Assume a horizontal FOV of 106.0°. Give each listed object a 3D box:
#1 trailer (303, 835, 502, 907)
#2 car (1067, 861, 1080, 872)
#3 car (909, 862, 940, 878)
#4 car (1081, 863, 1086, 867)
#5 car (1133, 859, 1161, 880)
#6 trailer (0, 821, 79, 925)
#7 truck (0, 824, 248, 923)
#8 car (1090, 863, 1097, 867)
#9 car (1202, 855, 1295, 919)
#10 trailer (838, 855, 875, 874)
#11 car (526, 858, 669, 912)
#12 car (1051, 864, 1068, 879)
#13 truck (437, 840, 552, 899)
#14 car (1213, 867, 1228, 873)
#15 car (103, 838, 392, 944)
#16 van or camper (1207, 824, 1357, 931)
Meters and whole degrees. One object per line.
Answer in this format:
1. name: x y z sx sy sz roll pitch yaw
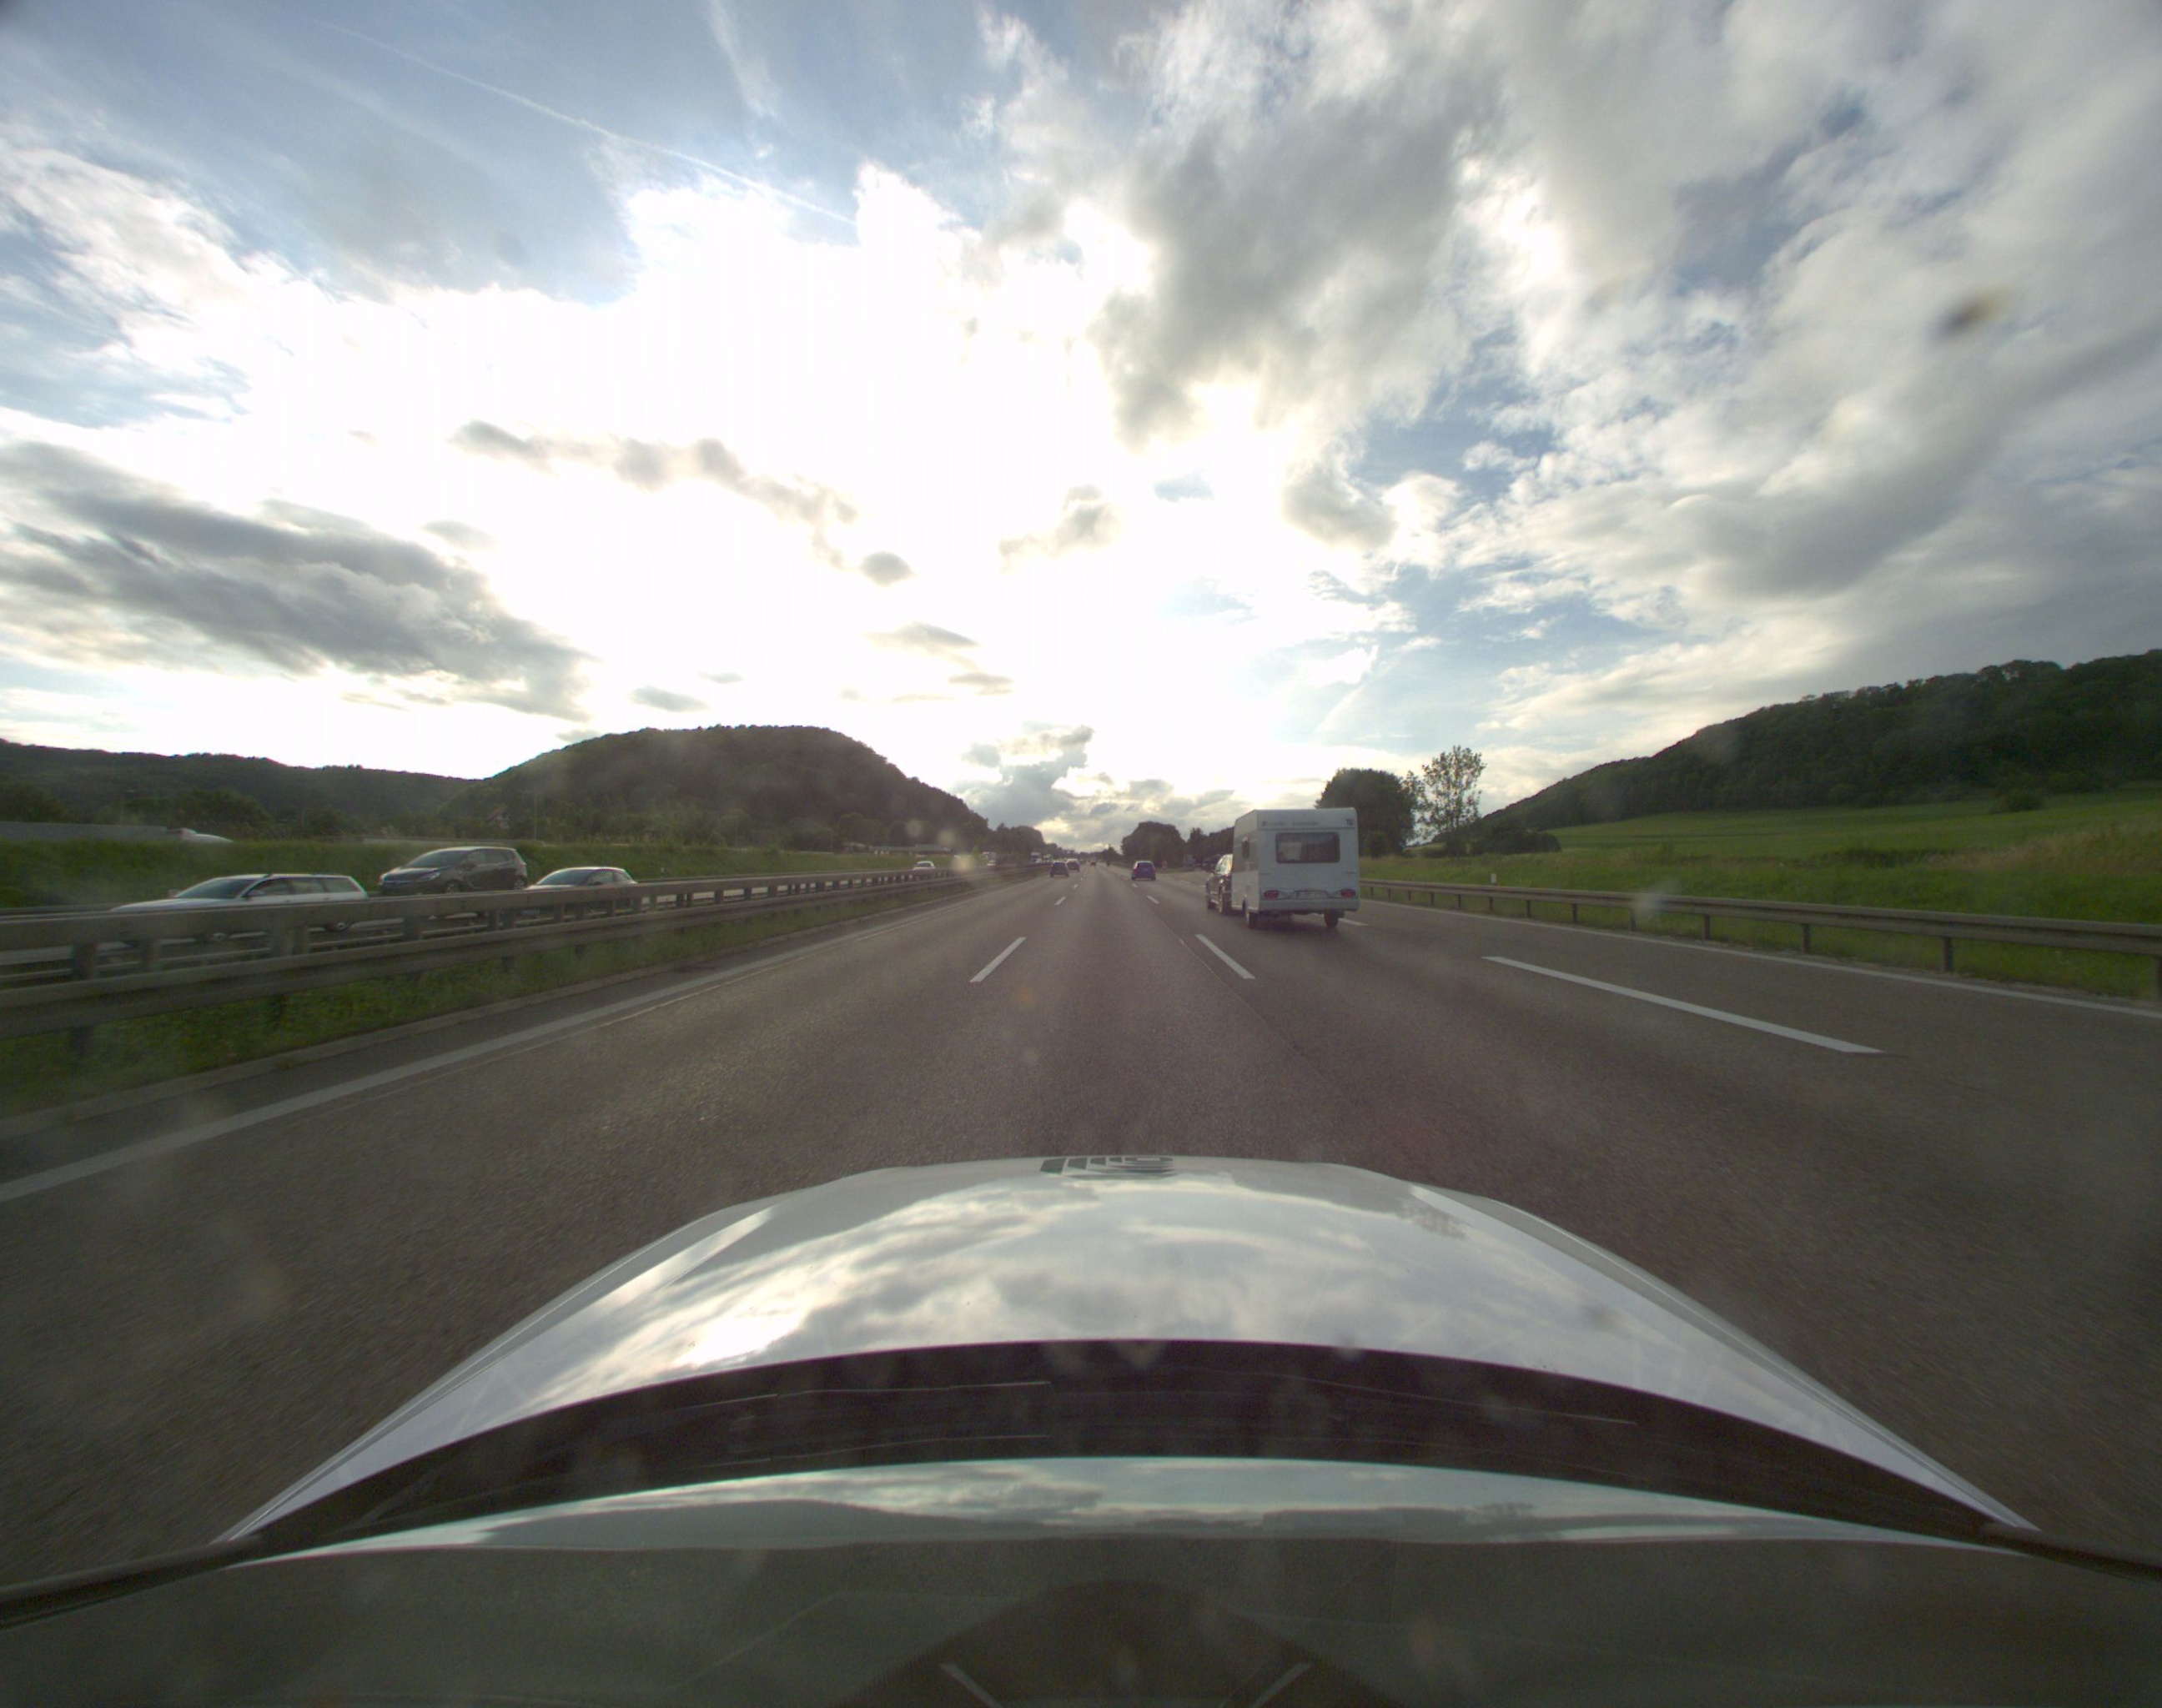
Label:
1. trailer: -39.550 0.957 48.219 2.866 3.696 10.375 -2 -1 1
2. car: -1.006 1.695 110.313 1.558 1.380 4.003 -1 -1 3
3. car: -14.189 1.420 73.955 1.944 1.448 3.873 -1 -1 1
4. car: 0.869 3.504 256.426 1.576 1.371 3.258 0 -2 2
5. car: 4.989 1.179 62.076 1.761 1.433 3.999 -2 -1 0
6. trailer: -40.046 0.678 26.075 2.866 3.696 10.375 -2 -1 1
7. truck: -39.871 0.774 34.220 2.871 3.691 6.592 -2 -1 1
8. car: 3.632 3.179 234.982 1.747 1.222 3.994 -1 -1 -4
9. car: 4.661 0.869 23.263 1.780 1.652 4.481 0 0 1
10. trailer: -37.556 1.814 136.657 2.569 2.854 11.383 0 -2 2
11. car: -14.418 0.872 24.552 1.944 1.476 3.873 -1 -1 1
12. car: -1.994 1.637 76.395 1.533 1.348 3.676 0 -1 0
13. truck: -39.407 1.034 55.037 2.871 3.691 6.592 -2 -1 1
14. car: 40.933 4.642 238.490 4.331 1.556 1.967 1 -3 -40
15. car: -18.789 0.773 18.757 1.944 2.113 4.521 -1 -1 1
16. van or camper: 4.594 0.532 19.611 2.537 2.239 5.332 0 -1 3
